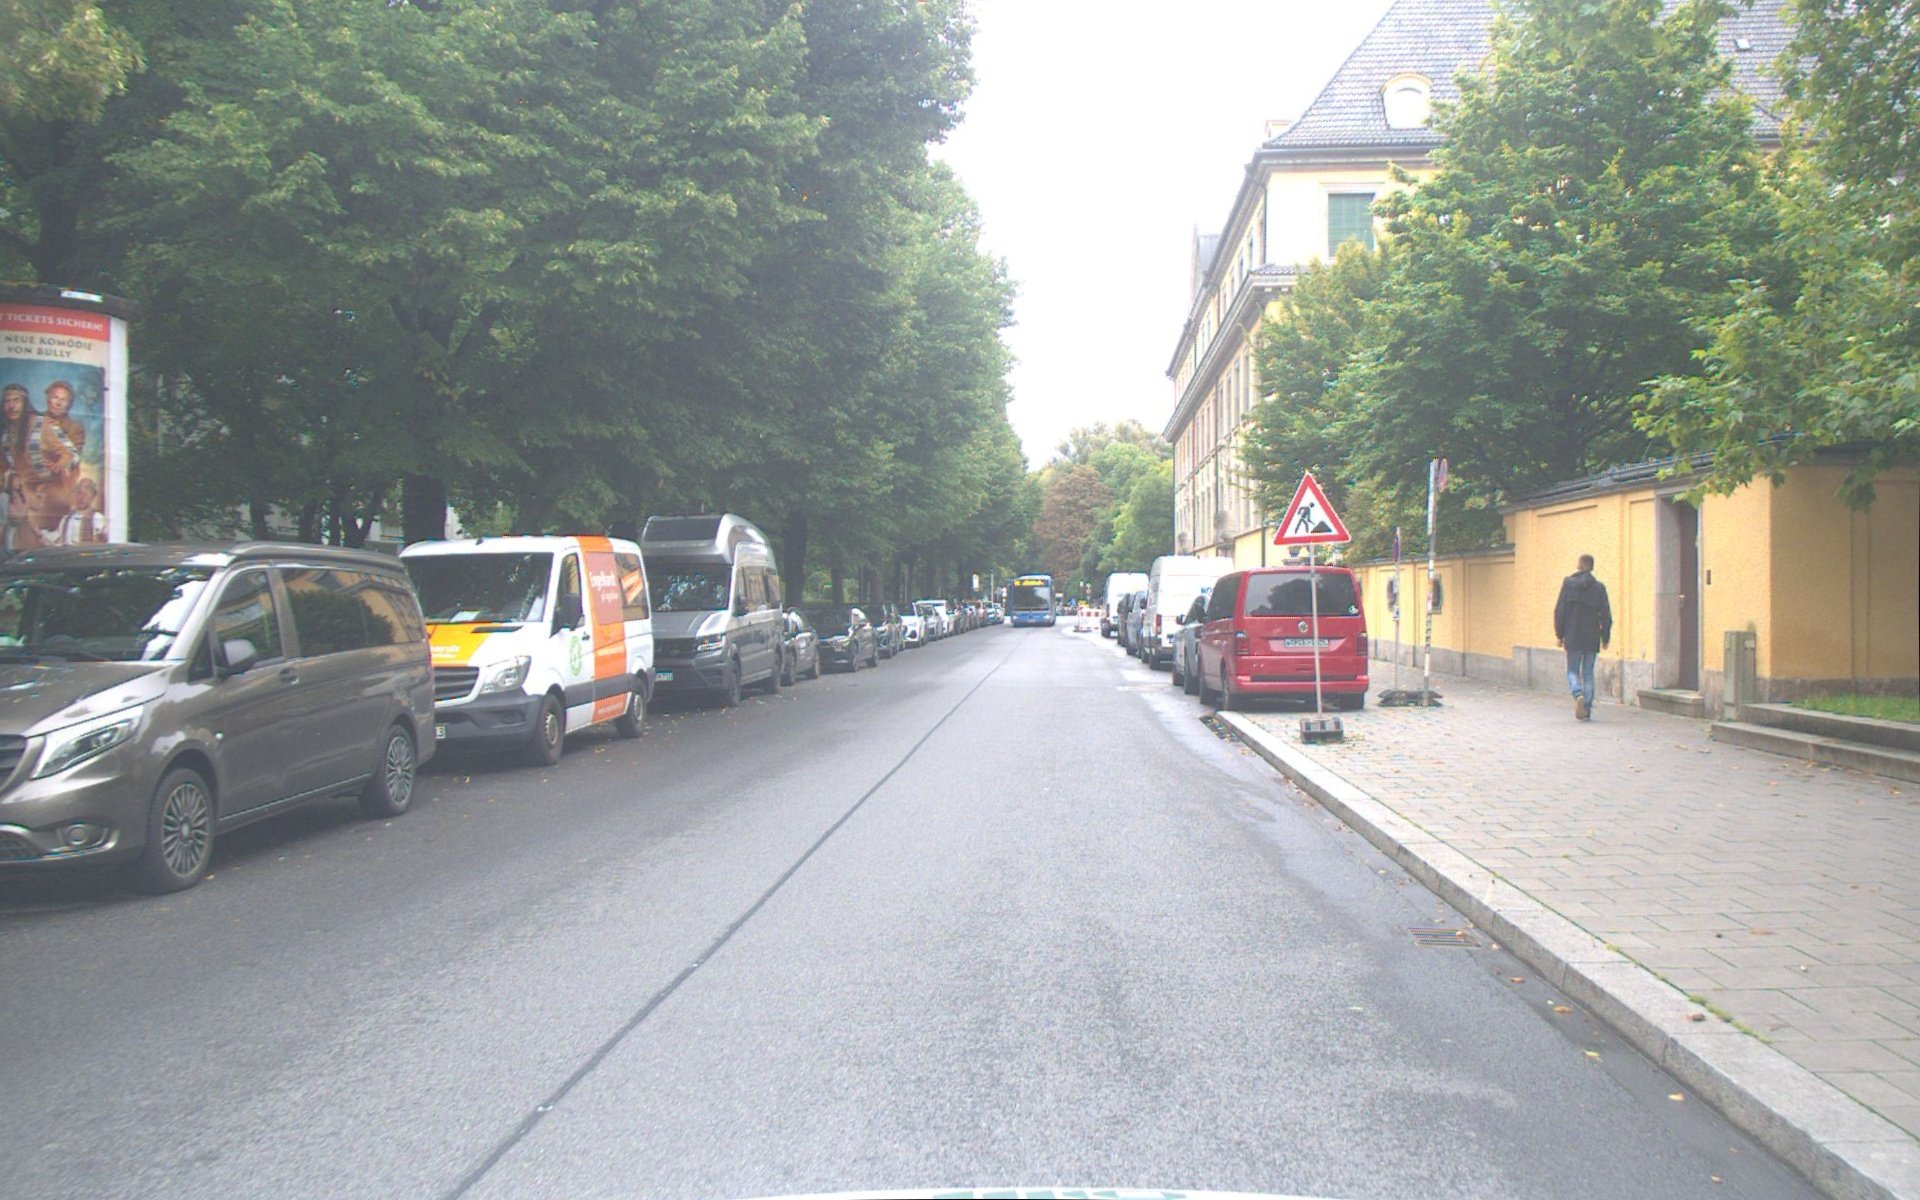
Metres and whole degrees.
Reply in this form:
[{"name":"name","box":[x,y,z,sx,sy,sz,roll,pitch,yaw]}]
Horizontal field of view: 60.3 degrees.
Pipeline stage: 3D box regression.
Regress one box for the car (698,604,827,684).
[{"name":"car","box":[-3.814,0.820,32.550,1.835,1.441,4.002,-1,0,3]}]

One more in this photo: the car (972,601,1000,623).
[{"name":"car","box":[1.885,0.867,117.236,1.813,1.499,4.002,-1,0,3]}]

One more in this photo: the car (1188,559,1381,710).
[{"name":"car","box":[4.469,0.446,23.513,1.949,1.871,4.715,-2,0,2]}]

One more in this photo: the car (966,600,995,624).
[{"name":"car","box":[1.399,0.799,111.242,1.813,1.599,4.002,-1,0,3]}]

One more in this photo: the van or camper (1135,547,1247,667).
[{"name":"van or camper","box":[5.376,0.161,39.144,2.087,2.590,5.245,-2,0,3]}]

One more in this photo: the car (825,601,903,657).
[{"name":"car","box":[-2.659,0.781,46.710,1.814,1.499,4.001,-1,0,2]}]

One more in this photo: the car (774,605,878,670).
[{"name":"car","box":[-3.023,0.832,38.068,1.835,1.371,4.002,-1,0,3]}]

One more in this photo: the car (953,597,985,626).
[{"name":"car","box":[0.585,0.719,102.543,1.813,1.731,4.002,-1,0,3]}]

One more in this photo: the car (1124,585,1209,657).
[{"name":"car","box":[5.722,0.557,46.334,1.949,1.876,4.323,-2,0,2]}]

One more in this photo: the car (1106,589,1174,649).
[{"name":"car","box":[5.967,0.609,55.265,1.949,1.876,4.323,-2,0,2]}]

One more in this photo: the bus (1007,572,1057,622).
[{"name":"bus","box":[4.700,-0.169,105.436,2.656,2.950,14.561,-1,0,4]}]

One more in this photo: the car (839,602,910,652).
[{"name":"car","box":[-2.634,0.816,51.825,1.813,1.499,4.002,-1,0,3]}]

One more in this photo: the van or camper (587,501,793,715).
[{"name":"van or camper","box":[-4.158,0.110,26.576,1.959,2.996,6.013,-2,0,3]}]

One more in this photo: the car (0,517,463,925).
[{"name":"car","box":[-4.975,0.607,10.652,1.848,1.967,5.208,-2,0,1]}]

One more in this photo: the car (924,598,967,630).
[{"name":"car","box":[-0.665,0.670,80.400,1.813,1.499,4.002,-1,0,3]}]

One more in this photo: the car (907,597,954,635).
[{"name":"car","box":[-1.283,0.693,73.570,1.813,1.591,4.002,-1,0,3]}]

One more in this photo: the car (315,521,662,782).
[{"name":"car","box":[-4.761,0.471,17.640,1.906,2.312,5.245,-2,0,3]}]

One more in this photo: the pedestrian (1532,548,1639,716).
[{"name":"pedestrian","box":[7.126,0.352,18.883,0.855,1.863,1.052,-1,0,4]}]

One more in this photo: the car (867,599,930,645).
[{"name":"car","box":[-2.113,0.741,57.759,1.813,1.499,4.002,-1,0,3]}]

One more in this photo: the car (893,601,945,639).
[{"name":"car","box":[-1.643,0.788,67.864,1.813,1.499,4.002,-1,0,3]}]

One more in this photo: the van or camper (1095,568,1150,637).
[{"name":"van or camper","box":[6.948,0.097,71.138,2.071,2.780,5.245,-2,0,3]}]

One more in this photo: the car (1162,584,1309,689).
[{"name":"car","box":[4.698,0.592,28.772,1.949,1.637,4.323,-2,0,2]}]
